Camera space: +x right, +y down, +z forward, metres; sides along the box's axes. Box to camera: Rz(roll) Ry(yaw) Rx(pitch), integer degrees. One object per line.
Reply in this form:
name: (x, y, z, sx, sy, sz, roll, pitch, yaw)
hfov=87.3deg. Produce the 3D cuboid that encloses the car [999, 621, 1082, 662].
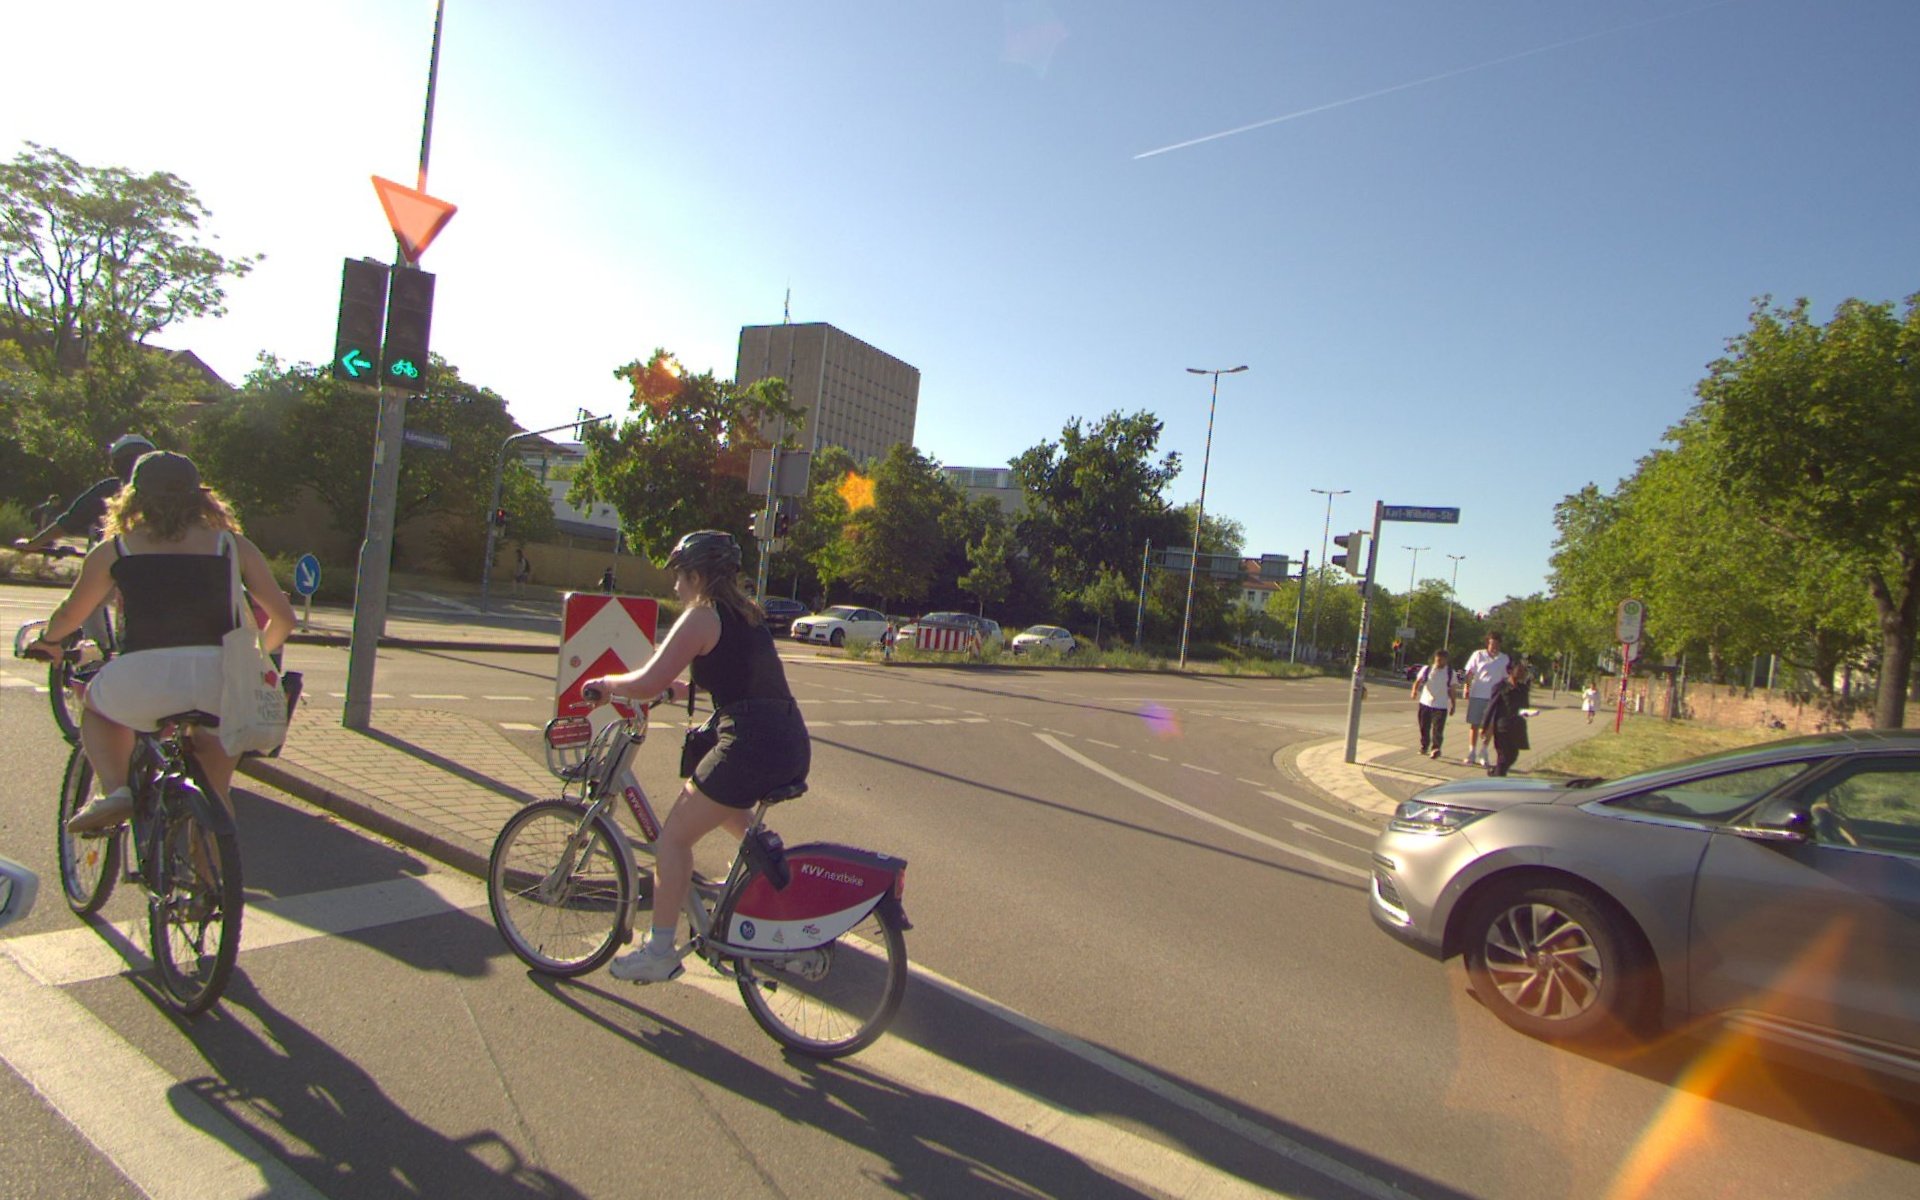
car: (3.771, 1.946, 46.563, 1.896, 1.538, 4.003, 7, 0, 37)

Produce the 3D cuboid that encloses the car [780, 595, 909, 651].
car: (-3.948, 0.828, 35.061, 1.776, 1.538, 4.415, 7, 0, 37)

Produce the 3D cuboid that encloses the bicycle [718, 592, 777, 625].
bicycle: (-8.867, 0.358, 42.028, 0.770, 1.170, 2.278, 7, 0, 43)

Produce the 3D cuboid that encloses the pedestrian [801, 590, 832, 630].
pedestrian: (-6.981, 0.487, 48.968, 1.001, 1.771, 0.848, 7, 1, 29)

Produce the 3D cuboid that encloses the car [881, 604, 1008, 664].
car: (-0.432, 1.106, 32.085, 1.896, 1.538, 4.003, 7, 0, 37)

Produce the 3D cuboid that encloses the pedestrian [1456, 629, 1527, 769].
pedestrian: (7.792, 1.418, 14.791, 0.700, 1.920, 0.871, 5, 3, 24)

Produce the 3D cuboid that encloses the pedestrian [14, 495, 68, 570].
pedestrian: (-22.710, -1.672, 24.864, 0.701, 1.735, 0.732, 7, 1, 34)

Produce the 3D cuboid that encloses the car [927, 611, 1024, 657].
car: (0.676, 1.424, 41.594, 1.896, 1.538, 4.003, 7, 0, 37)

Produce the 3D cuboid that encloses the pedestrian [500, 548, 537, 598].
pedestrian: (-16.216, -0.983, 36.987, 0.664, 1.725, 0.875, 7, 1, 29)

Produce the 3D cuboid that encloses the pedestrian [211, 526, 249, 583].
pedestrian: (-21.768, -1.353, 30.008, 0.613, 1.594, 0.637, 7, 1, 34)

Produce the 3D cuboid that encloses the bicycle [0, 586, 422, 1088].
bicycle: (-2.785, 0.640, 3.423, 1.837, 1.135, 0.718, 8, 0, 30)

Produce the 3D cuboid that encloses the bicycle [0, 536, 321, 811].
bicycle: (-4.749, 0.326, 5.785, 2.539, 1.170, 0.778, 6, 1, 34)

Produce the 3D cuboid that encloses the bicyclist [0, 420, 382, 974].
bicyclist: (-2.620, 0.269, 3.355, 0.835, 1.567, 0.717, 7, -1, 30)

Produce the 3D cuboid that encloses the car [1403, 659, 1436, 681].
car: (39.576, 6.058, 86.521, 1.967, 1.616, 3.991, 6, 0, 32)

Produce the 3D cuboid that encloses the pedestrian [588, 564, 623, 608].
pedestrian: (-13.562, -0.546, 38.502, 0.750, 1.563, 0.846, 7, 1, 28)

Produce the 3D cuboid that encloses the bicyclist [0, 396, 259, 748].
bicyclist: (-4.874, -0.169, 5.901, 1.075, 1.856, 0.778, 7, 1, 34)

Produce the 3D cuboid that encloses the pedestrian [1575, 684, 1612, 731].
pedestrian: (22.918, 3.875, 36.393, 0.958, 1.556, 0.920, 7, 1, 35)

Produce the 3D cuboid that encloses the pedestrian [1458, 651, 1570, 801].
pedestrian: (6.638, 1.496, 12.089, 0.701, 1.675, 0.790, 3, 3, -14)

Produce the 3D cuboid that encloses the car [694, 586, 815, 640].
car: (-7.320, 0.485, 36.109, 1.776, 1.538, 3.985, 7, 0, 37)

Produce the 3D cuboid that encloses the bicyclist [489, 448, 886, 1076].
bicyclist: (-0.906, 0.480, 3.457, 0.834, 1.810, 0.717, 8, 1, 23)

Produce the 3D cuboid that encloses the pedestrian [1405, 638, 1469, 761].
pedestrian: (7.139, 1.463, 15.087, 0.700, 1.697, 0.871, 5, 3, 24)

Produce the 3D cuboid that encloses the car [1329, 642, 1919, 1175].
car: (4.302, 1.329, 4.316, 4.566, 1.705, 1.990, 6, 0, 42)

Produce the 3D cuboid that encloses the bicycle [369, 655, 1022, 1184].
bicycle: (-0.930, 0.914, 3.453, 2.029, 1.135, 0.719, 8, 0, 23)

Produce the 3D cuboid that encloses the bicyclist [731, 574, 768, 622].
bicyclist: (-8.786, -0.070, 42.042, 0.770, 1.853, 1.087, 7, 1, 44)
